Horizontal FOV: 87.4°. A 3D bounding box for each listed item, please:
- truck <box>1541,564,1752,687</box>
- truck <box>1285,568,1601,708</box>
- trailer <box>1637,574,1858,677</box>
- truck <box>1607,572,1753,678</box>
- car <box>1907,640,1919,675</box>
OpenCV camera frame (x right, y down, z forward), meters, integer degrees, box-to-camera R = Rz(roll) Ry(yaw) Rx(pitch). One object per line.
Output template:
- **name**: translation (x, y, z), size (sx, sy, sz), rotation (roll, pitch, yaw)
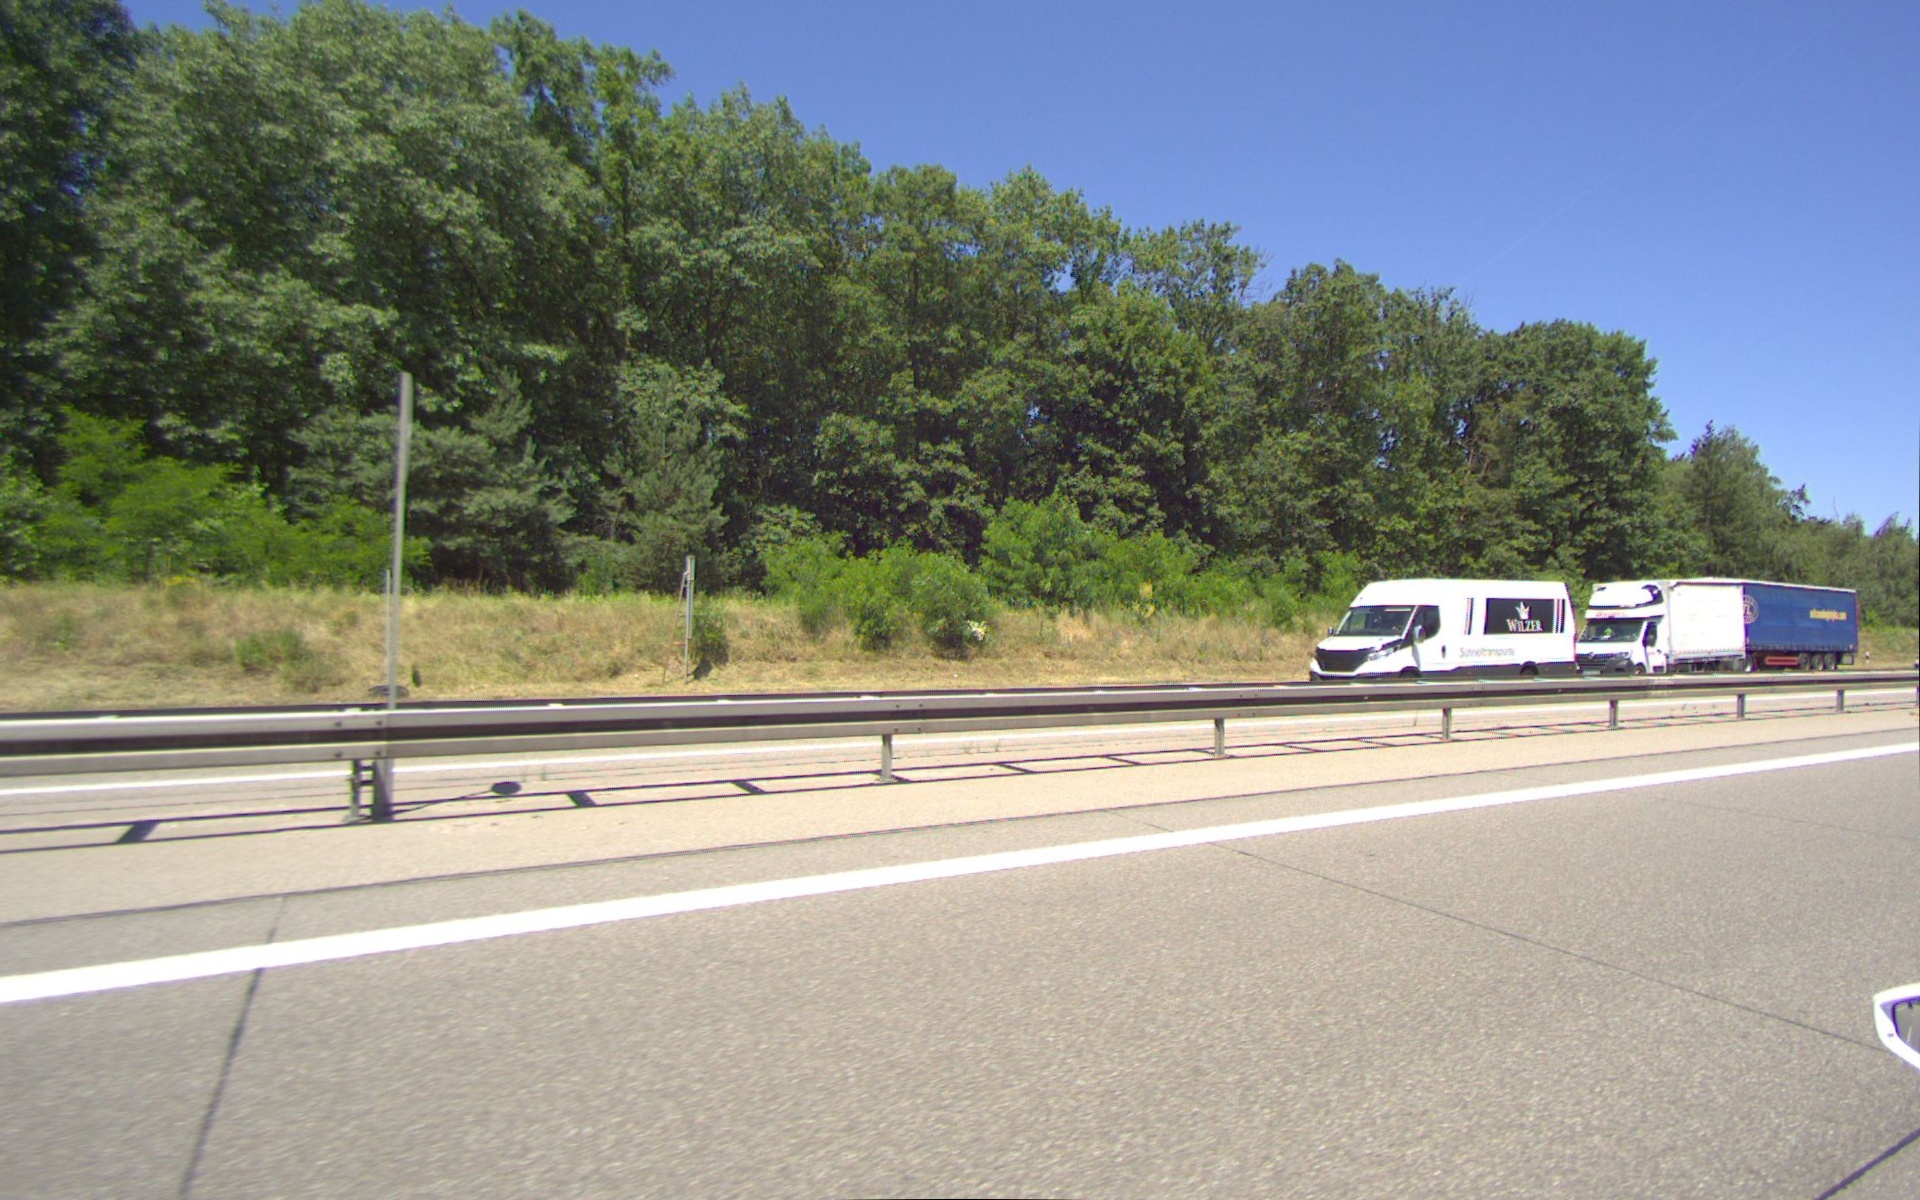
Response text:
- **truck**: translation (22.631, 0.923, 32.981), size (8.024, 3.653, 2.446), rotation (2, -4, -30)
- **truck**: translation (10.750, 0.878, 22.025), size (7.935, 2.657, 2.074), rotation (2, -4, -30)
- **trailer**: translation (35.012, 1.274, 44.309), size (14.199, 4.066, 2.494), rotation (2, -4, -30)
- **truck**: translation (29.455, 1.099, 41.042), size (6.053, 4.066, 2.494), rotation (2, -4, -30)
- **car**: translation (45.118, 2.597, 45.803), size (4.417, 1.579, 1.597), rotation (2, -4, -31)
